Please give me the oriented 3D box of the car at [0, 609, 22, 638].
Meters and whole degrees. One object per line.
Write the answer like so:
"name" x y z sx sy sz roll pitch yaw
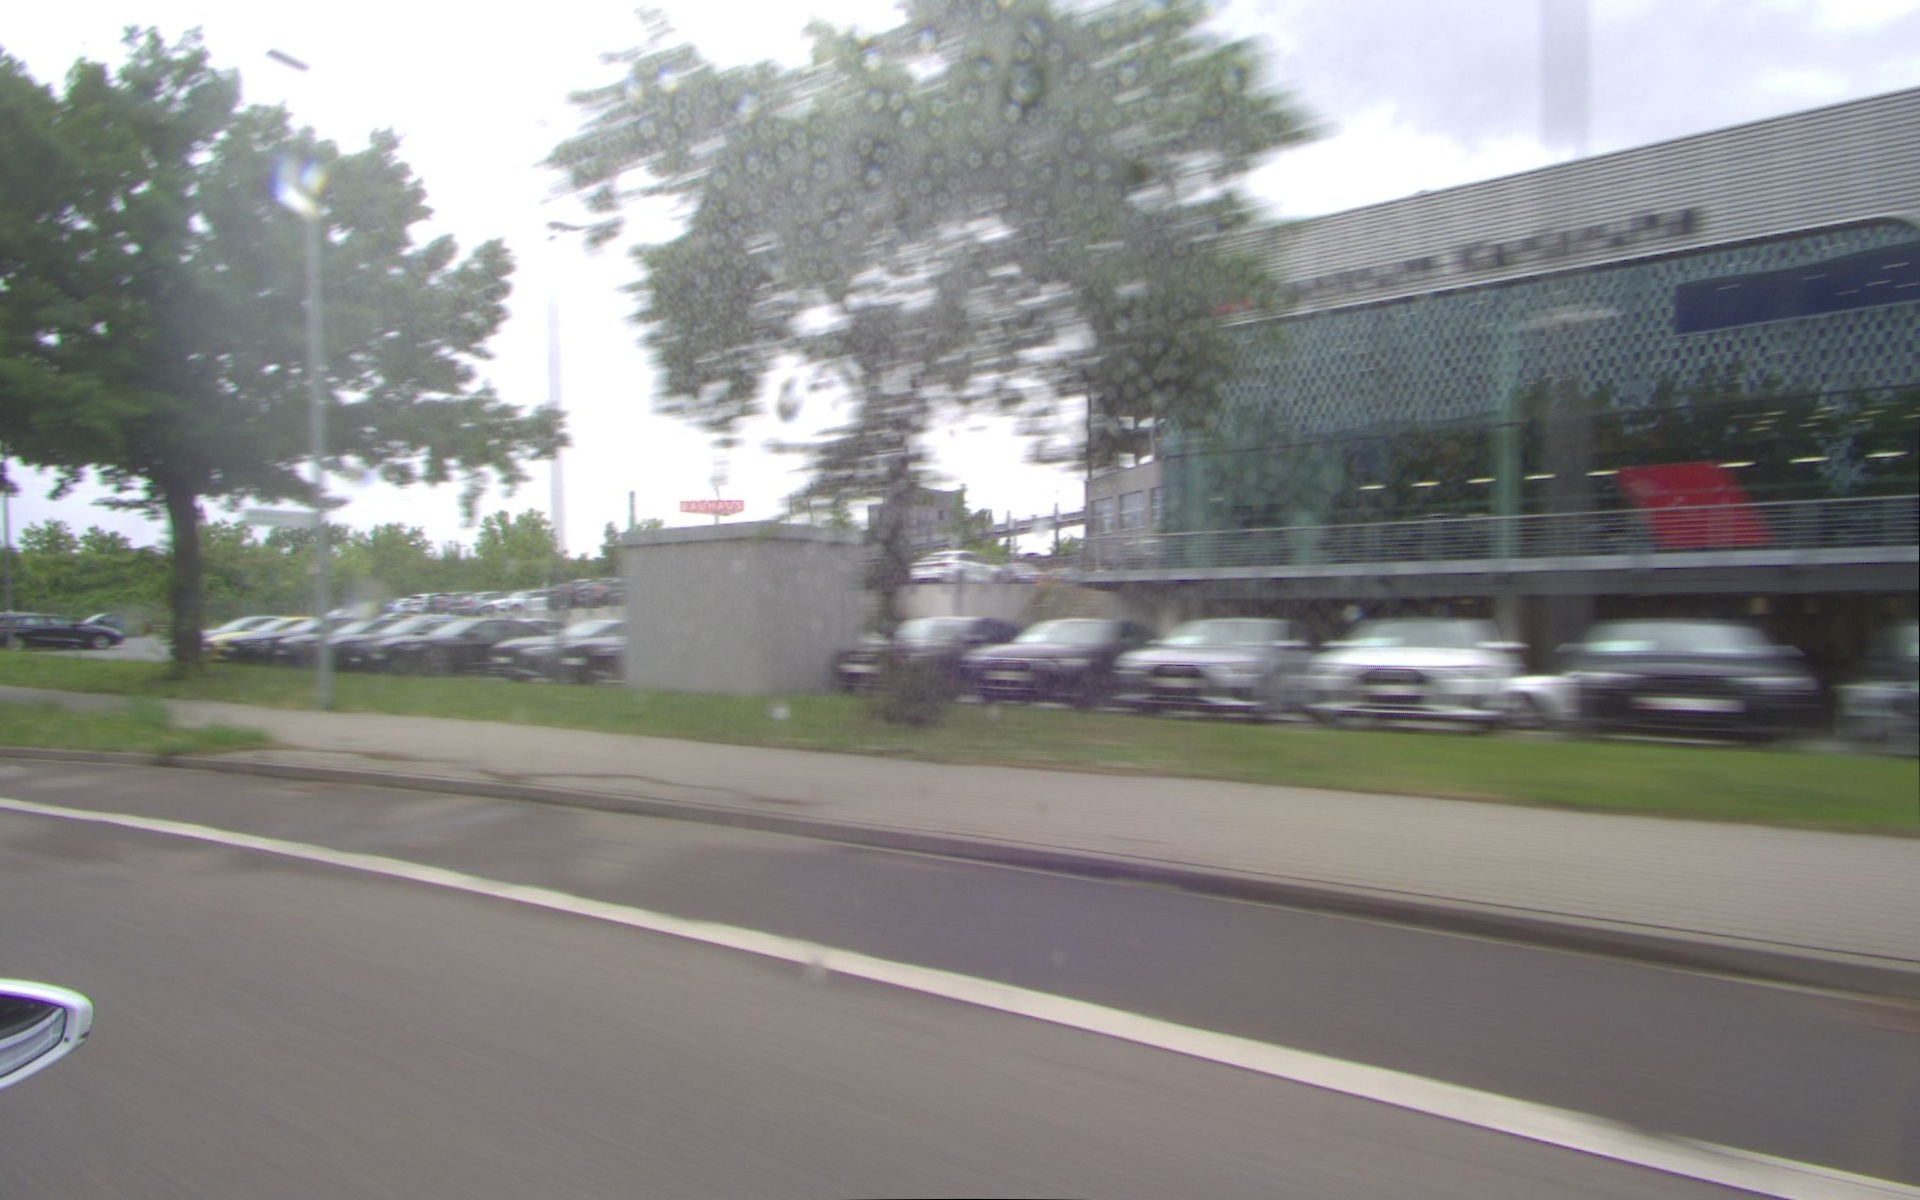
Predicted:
"car" -49.795 1.156 50.111 1.709 1.455 3.970 2 0 40

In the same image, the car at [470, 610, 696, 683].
"car" -8.187 1.076 22.091 1.973 1.409 4.286 -1 -5 34

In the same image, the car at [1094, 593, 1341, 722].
"car" 3.778 0.888 14.095 2.001 1.522 4.289 0 -6 34

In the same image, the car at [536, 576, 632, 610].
"car" -17.739 -0.319 47.396 1.705 1.454 4.078 2 0 32

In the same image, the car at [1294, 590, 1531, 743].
"car" 5.878 0.907 12.666 1.972 1.538 4.389 2 -5 34

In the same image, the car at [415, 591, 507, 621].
"car" -26.297 0.326 52.891 1.705 1.454 4.078 2 0 32

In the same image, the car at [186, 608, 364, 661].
"car" -20.640 1.014 30.338 1.819 1.454 4.078 2 0 32

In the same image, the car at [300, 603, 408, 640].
"car" -28.731 1.004 47.568 1.705 1.641 4.078 2 0 32

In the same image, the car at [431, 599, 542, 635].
"car" -20.573 0.751 43.639 1.705 1.454 4.078 2 0 32

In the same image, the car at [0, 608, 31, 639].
"car" -46.755 1.098 47.342 1.709 1.455 3.970 2 0 40

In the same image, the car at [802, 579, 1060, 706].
"car" -0.312 0.800 16.870 1.972 1.722 4.545 2 -5 35

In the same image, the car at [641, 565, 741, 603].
"car" -11.527 -0.657 43.133 1.705 1.454 4.078 2 0 32

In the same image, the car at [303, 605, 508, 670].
"car" -14.492 1.036 26.420 1.902 1.522 4.338 0 -4 33

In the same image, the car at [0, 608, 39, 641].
"car" -45.310 1.123 46.186 1.709 1.455 3.970 2 0 40

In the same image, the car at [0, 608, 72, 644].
"car" -40.902 1.103 42.969 1.709 1.455 3.970 2 0 40

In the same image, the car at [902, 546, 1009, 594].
"car" -0.104 -1.056 36.532 1.854 1.516 4.328 2 0 32

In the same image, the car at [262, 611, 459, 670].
"car" -16.447 1.081 27.695 1.817 1.508 4.335 0 -1 33

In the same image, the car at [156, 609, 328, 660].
"car" -22.549 1.049 31.594 1.705 1.454 4.078 2 0 32

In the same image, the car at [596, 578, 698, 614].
"car" -13.879 -0.148 44.632 1.918 1.454 4.078 2 0 32

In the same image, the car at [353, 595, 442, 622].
"car" -31.952 0.508 57.002 1.705 1.454 4.078 2 0 32

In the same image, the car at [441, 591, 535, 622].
"car" -24.229 0.360 51.541 1.705 1.454 4.078 2 0 32

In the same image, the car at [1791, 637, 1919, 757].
"car" 15.176 1.484 14.995 3.943 1.684 1.888 2 0 34

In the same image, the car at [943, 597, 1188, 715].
"car" 1.768 0.923 15.365 1.933 1.463 4.171 2 -5 35

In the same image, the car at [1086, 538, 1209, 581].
"car" 6.912 -1.475 37.085 4.121 1.455 1.721 2 0 33

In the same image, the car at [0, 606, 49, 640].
"car" -42.926 1.011 44.116 1.709 1.455 3.970 2 0 40

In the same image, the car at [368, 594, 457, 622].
"car" -30.405 0.461 55.709 1.705 1.454 4.078 2 0 32

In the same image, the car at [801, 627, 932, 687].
"car" -2.756 1.756 30.430 1.837 1.626 3.982 2 -3 33

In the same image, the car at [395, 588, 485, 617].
"car" -28.272 0.163 54.530 1.705 1.454 4.078 2 0 32

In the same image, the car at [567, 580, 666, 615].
"car" -15.646 -0.089 45.788 1.705 1.454 4.078 2 0 32

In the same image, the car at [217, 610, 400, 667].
"car" -18.720 1.072 28.939 1.795 1.454 4.078 2 0 32

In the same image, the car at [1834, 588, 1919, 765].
"car" 9.919 0.843 9.528 1.907 1.474 4.170 2 -4 35

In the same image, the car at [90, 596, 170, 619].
"car" -56.627 0.525 68.400 1.709 1.455 3.970 2 0 40

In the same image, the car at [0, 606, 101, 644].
"car" -38.340 1.032 41.453 1.709 1.455 3.970 2 0 40

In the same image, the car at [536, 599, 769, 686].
"car" -6.207 0.947 20.670 1.973 1.583 4.253 -1 -5 34

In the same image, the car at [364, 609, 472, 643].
"car" -25.070 1.200 46.418 1.705 1.454 4.078 2 0 32

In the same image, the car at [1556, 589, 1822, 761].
"car" 7.922 0.871 11.091 1.972 1.486 4.171 2 -5 35

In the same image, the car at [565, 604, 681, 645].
"car" -12.943 0.950 38.633 1.705 1.454 4.078 2 0 32

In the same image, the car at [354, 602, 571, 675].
"car" -12.301 1.009 25.040 1.972 1.590 4.440 0 -4 33

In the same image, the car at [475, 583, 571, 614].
"car" -21.899 -0.063 50.368 1.705 1.454 4.192 2 0 32

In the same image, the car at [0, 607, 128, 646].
"car" -36.187 1.049 40.240 1.709 1.455 3.970 2 0 40

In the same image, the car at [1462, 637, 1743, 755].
"car" 11.226 1.581 17.731 3.943 1.684 1.888 2 0 34

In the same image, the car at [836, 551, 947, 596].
"car" -2.535 -0.965 38.082 2.039 1.516 4.328 2 0 32

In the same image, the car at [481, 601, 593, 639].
"car" -17.520 0.830 41.633 1.705 1.454 4.078 2 0 32

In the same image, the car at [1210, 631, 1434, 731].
"car" 7.355 1.561 20.444 3.943 1.684 1.888 2 0 34
